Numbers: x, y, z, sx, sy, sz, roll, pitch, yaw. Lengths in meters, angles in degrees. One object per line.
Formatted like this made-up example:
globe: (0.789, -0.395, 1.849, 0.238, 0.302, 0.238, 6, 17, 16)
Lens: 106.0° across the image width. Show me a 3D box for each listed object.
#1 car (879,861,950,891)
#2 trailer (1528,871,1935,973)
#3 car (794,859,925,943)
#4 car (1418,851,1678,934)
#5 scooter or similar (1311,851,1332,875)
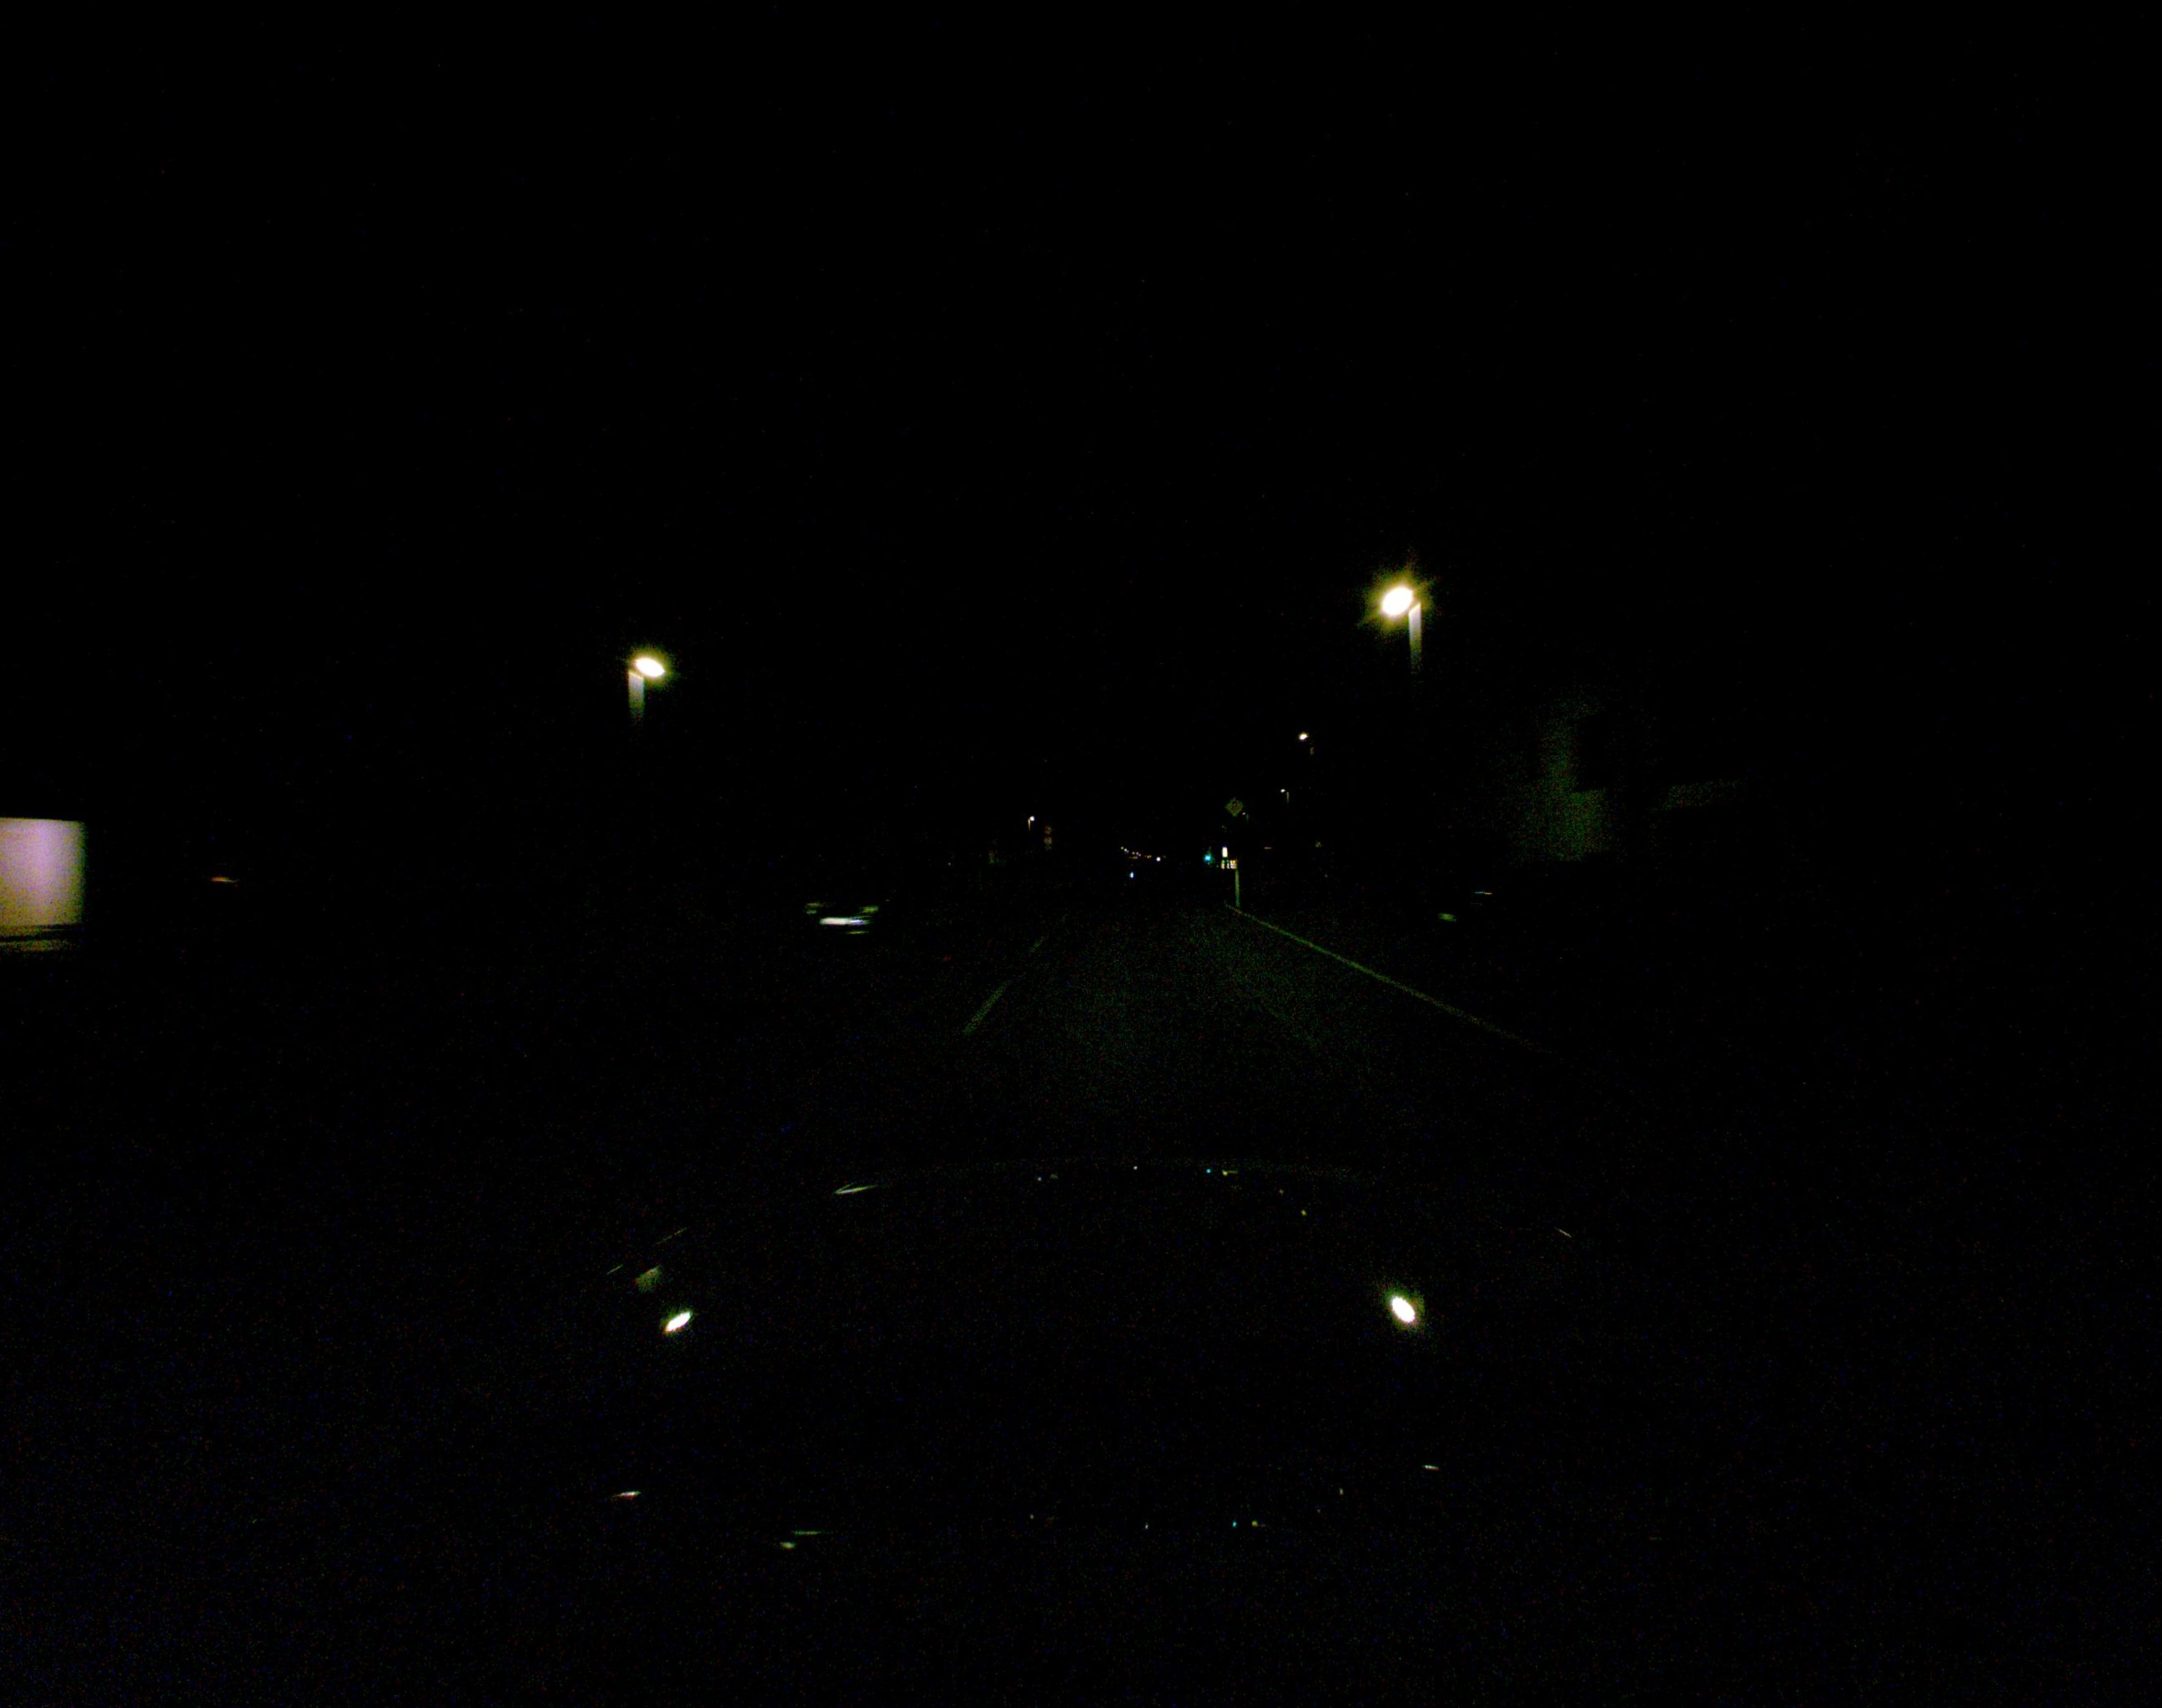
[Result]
car: (-9.923, 1.287, 48.559, 3.681, 1.627, 1.792, -2, -1, 20)
trailer: (7.697, 0.764, 9.958, 3.419, 1.002, 1.955, 1, 0, 1)
car: (-4.660, 0.921, 17.716, 1.666, 1.591, 3.988, -1, 0, 1)
car: (7.726, 0.604, 13.707, 3.380, 1.232, 1.724, 2, 0, 0)
scooter or similar: (12.876, 0.471, 43.625, 0.609, 1.281, 1.690, -1, 0, 0)
